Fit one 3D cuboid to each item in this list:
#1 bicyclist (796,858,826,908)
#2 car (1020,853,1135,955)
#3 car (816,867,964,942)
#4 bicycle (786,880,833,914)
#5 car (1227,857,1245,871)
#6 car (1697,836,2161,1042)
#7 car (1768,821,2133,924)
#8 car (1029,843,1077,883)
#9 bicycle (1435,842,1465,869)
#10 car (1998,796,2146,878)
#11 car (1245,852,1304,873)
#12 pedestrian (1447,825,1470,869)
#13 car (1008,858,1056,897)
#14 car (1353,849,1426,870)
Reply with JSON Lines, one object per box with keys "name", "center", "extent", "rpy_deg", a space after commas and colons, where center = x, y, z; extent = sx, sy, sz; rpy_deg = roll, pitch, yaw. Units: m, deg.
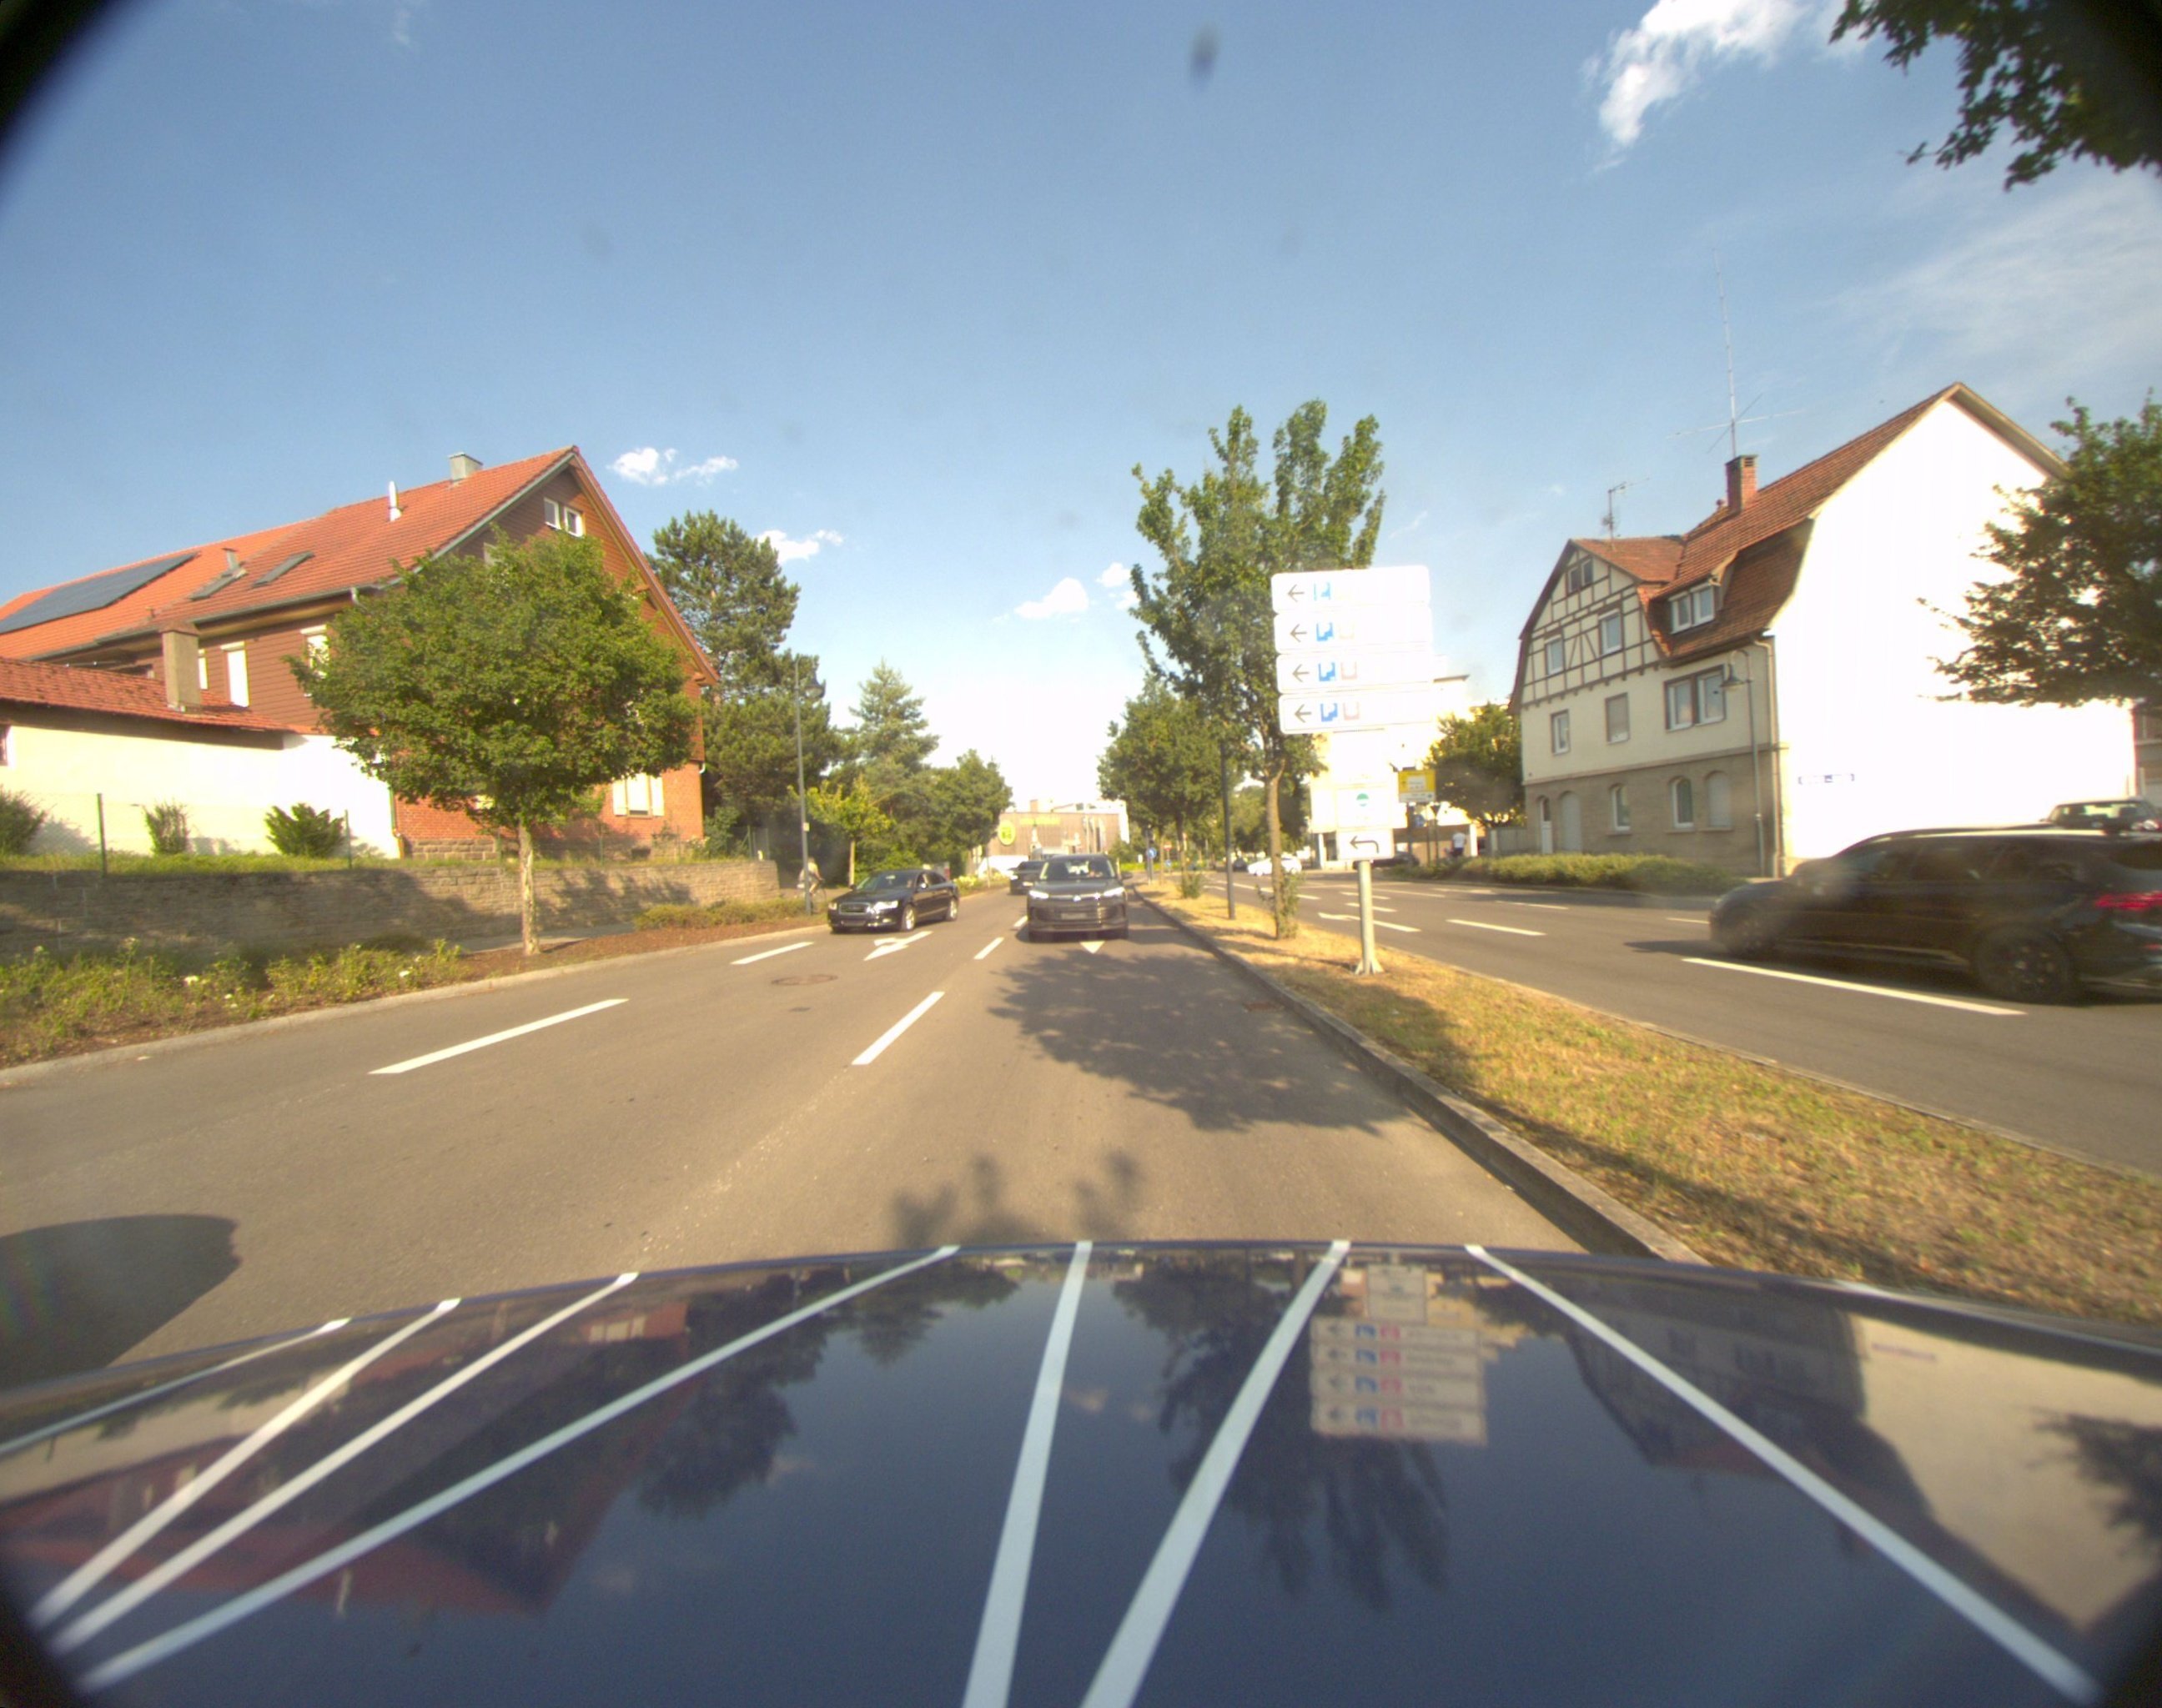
{"name": "bicyclist", "center": [-9.206, 0.988, 25.915], "extent": [0.603, 1.668, 0.735], "rpy_deg": [-2, 1, 13]}
{"name": "car", "center": [-0.023, 0.845, 15.282], "extent": [1.894, 1.647, 4.729], "rpy_deg": [-2, 0, 1]}
{"name": "car", "center": [-4.446, 1.134, 18.542], "extent": [1.684, 1.427, 4.592], "rpy_deg": [-2, 0, 11]}
{"name": "bicycle", "center": [-9.200, 1.452, 25.815], "extent": [0.522, 1.012, 1.877], "rpy_deg": [-2, 1, 13]}
{"name": "car", "center": [17.793, 1.150, 87.234], "extent": [1.764, 1.346, 4.166], "rpy_deg": [-2, 0, 15]}
{"name": "car", "center": [8.698, 0.596, 7.557], "extent": [1.773, 1.442, 4.107], "rpy_deg": [-2, 0, 0]}
{"name": "car", "center": [15.557, 0.274, 14.032], "extent": [1.839, 1.436, 4.194], "rpy_deg": [-6, 0, 0]}
{"name": "car", "center": [-2.071, 0.598, 53.905], "extent": [2.373, 2.532, 6.186], "rpy_deg": [-2, 0, -11]}
{"name": "bicycle", "center": [17.371, 0.068, 35.787], "extent": [0.681, 1.215, 1.514], "rpy_deg": [-2, 1, 2]}
{"name": "car", "center": [22.728, -0.407, 17.400], "extent": [4.006, 1.543, 1.764], "rpy_deg": [-5, 1, -34]}
{"name": "car", "center": [14.571, 0.617, 57.393], "extent": [4.126, 1.346, 1.768], "rpy_deg": [-2, 1, 6]}
{"name": "pedestrian", "center": [17.319, -0.299, 34.848], "extent": [0.699, 1.971, 0.588], "rpy_deg": [-2, 1, 2]}
{"name": "car", "center": [-2.278, 1.060, 36.107], "extent": [1.886, 1.599, 4.127], "rpy_deg": [-2, 0, 1]}
{"name": "car", "center": [22.716, 0.404, 56.009], "extent": [4.661, 1.346, 1.768], "rpy_deg": [-2, 1, 9]}
